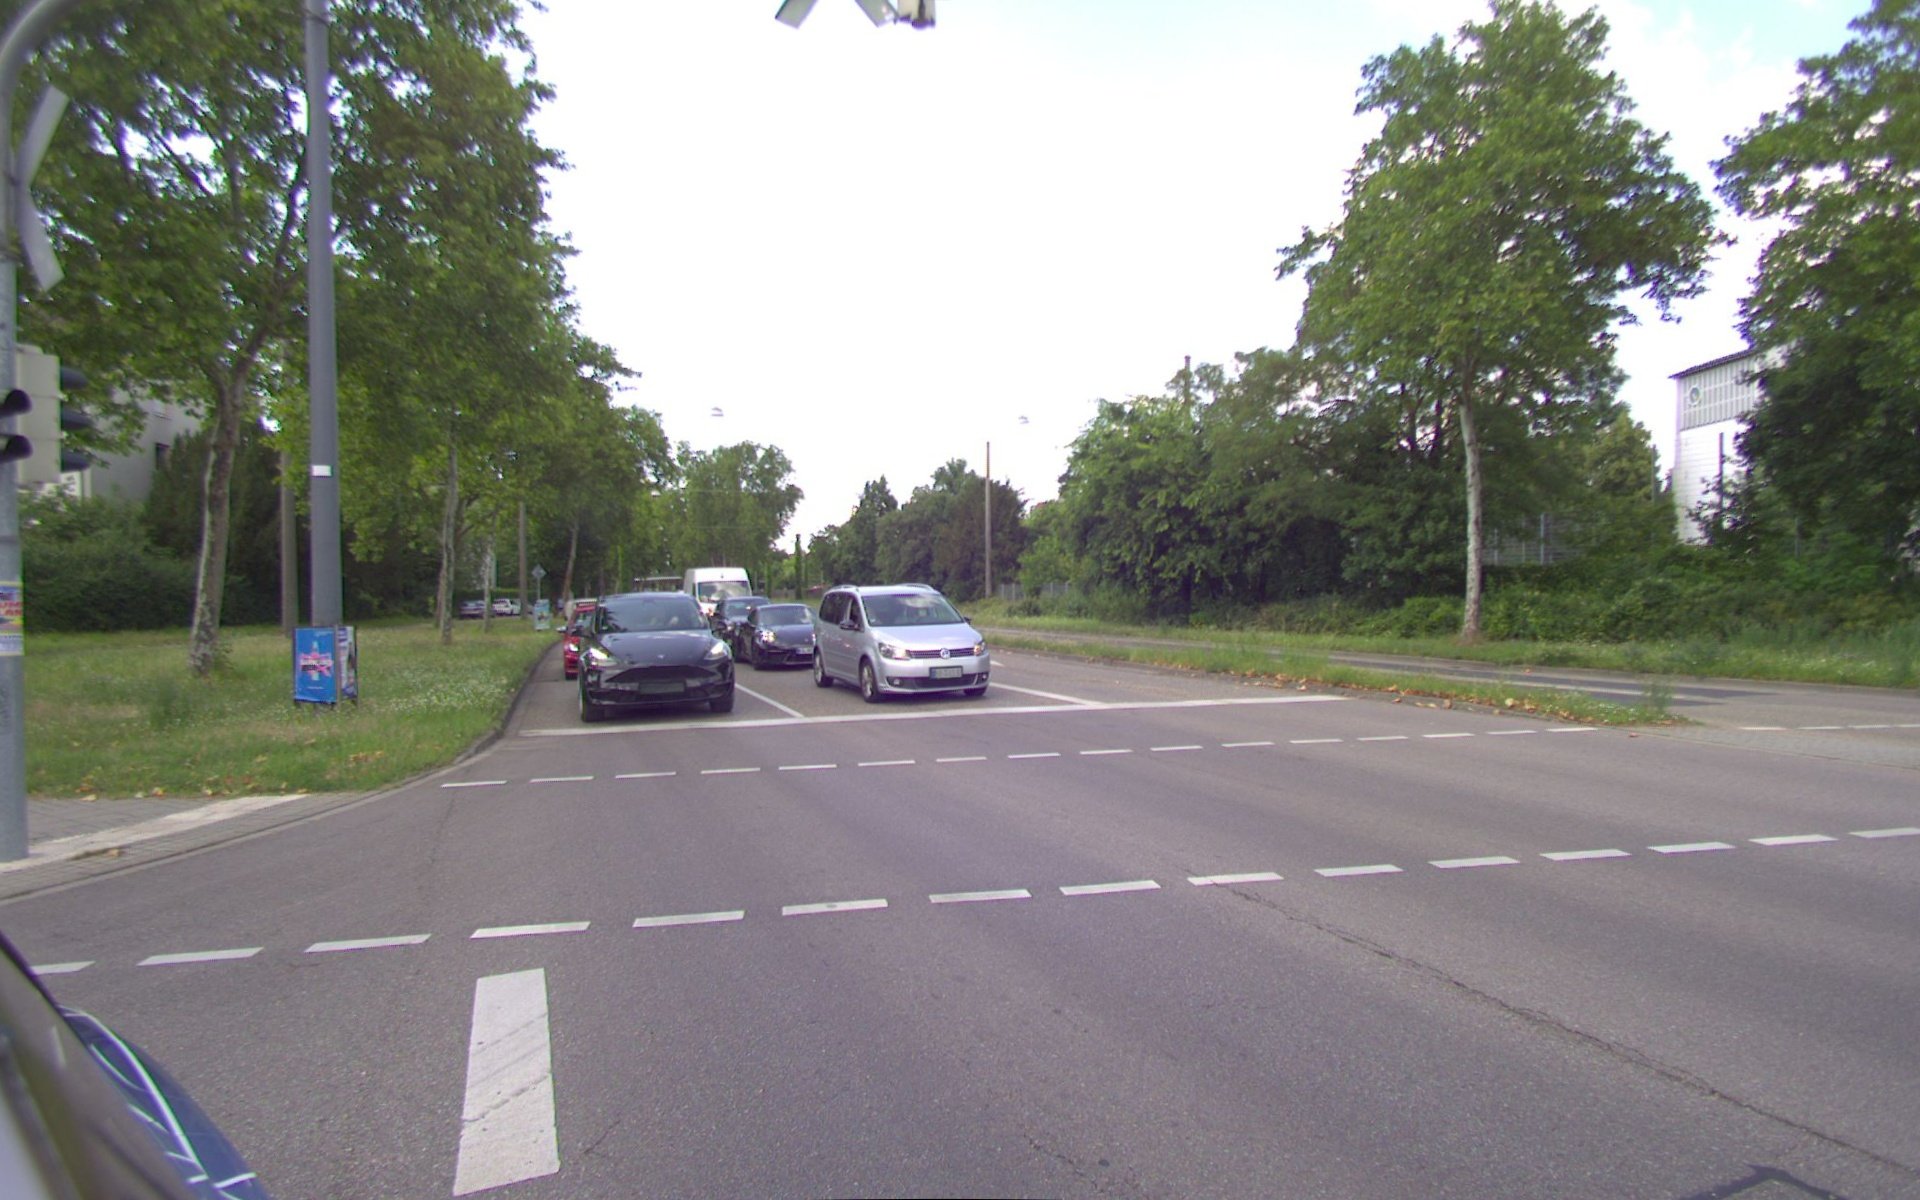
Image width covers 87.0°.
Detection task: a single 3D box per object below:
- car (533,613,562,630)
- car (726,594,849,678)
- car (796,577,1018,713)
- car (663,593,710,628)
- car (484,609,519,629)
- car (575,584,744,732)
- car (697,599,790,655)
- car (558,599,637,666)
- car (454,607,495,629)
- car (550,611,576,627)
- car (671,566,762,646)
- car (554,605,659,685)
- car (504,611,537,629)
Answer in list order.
[{"bbox_3d":[-41.721,2.179,102.397,1.749,1.608,3.661,-1,-2,-7],"label":"car"},{"bbox_3d":[-3.755,0.682,21.470,1.773,1.519,4.013,-3,1,-21],"label":"car"},{"bbox_3d":[-0.986,0.566,15.350,1.897,1.664,4.517,-3,1,-23],"label":"car"},{"bbox_3d":[-13.951,0.500,51.533,1.734,1.659,4.358,-1,0,-23],"label":"car"},{"bbox_3d":[-39.431,1.670,87.125,1.749,1.608,3.661,-1,-2,-7],"label":"car"},{"bbox_3d":[-4.405,0.672,14.339,1.898,1.664,4.595,-3,1,-21],"label":"car"},{"bbox_3d":[-6.155,0.692,28.436,1.734,1.385,4.358,-3,1,-23],"label":"car"},{"bbox_3d":[-9.991,0.812,27.691,1.771,1.581,4.517,-3,1,-23],"label":"car"},{"bbox_3d":[-37.528,1.378,78.251,1.749,1.608,3.661,-1,-2,-7],"label":"car"},{"bbox_3d":[-43.196,2.098,110.178,1.749,1.608,3.661,-1,-2,-7],"label":"car"},{"bbox_3d":[-8.852,0.181,36.354,2.189,2.549,5.953,-3,1,-23],"label":"car"},{"bbox_3d":[-7.557,0.853,21.381,1.771,1.401,4.517,-3,1,-23],"label":"car"},{"bbox_3d":[-39.717,1.816,91.535,1.749,1.608,3.661,-1,-2,-7],"label":"car"}]
